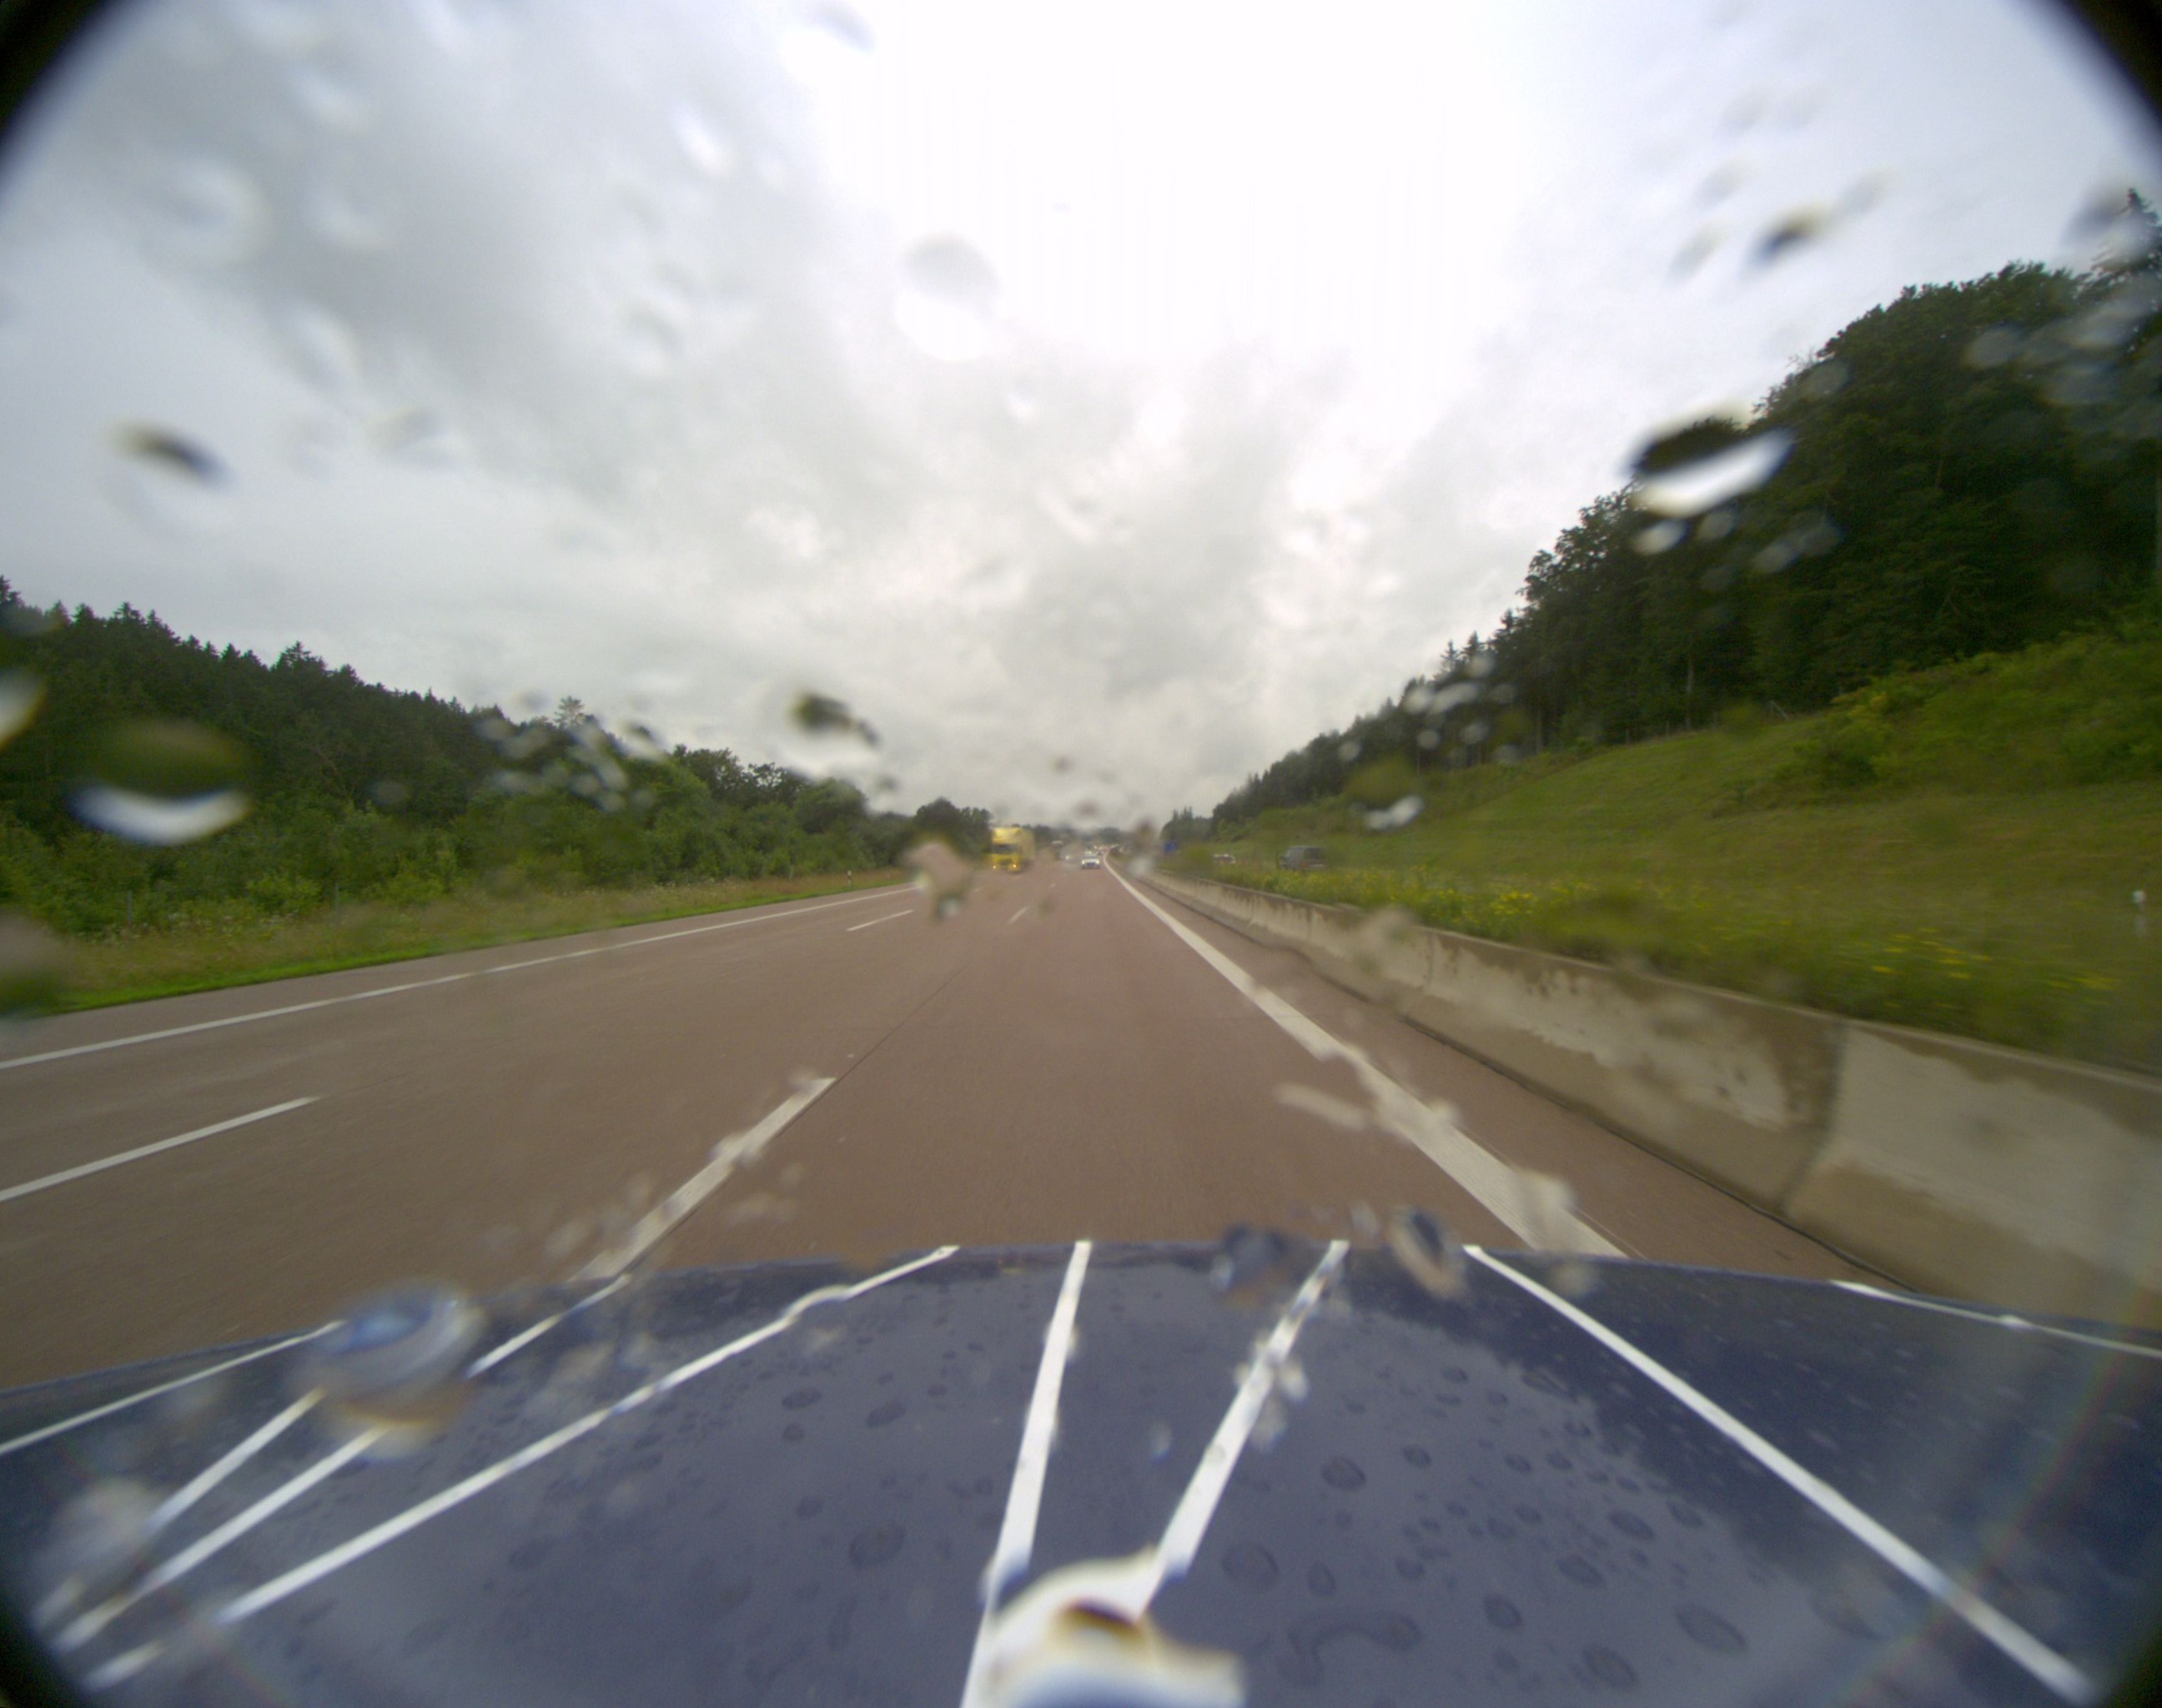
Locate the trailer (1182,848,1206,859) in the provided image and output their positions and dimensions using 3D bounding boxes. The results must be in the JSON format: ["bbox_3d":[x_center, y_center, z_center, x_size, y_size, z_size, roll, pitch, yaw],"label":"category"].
[{"bbox_3d":[14.730,-0.073,99.428,2.210,0.992,6.850,-7,1,1],"label":"trailer"}]

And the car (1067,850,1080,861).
[{"bbox_3d":[-1.229,0.203,126.469,1.998,1.623,4.931,-2,1,2],"label":"car"}]

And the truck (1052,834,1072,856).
[{"bbox_3d":[-4.005,-2.094,162.435,3.190,4.349,14.703,-2,1,2],"label":"truck"}]

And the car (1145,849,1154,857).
[{"bbox_3d":[15.934,-0.185,176.887,1.998,1.756,5.095,-1,0,2],"label":"car"}]

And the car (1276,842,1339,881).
[{"bbox_3d":[12.570,0.366,42.500,2.043,2.046,5.069,0,1,1],"label":"car"}]

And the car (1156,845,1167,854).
[{"bbox_3d":[15.307,-0.869,144.212,1.730,1.520,4.116,-2,1,1],"label":"car"}]

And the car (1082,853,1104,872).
[{"bbox_3d":[1.248,0.796,74.507,1.998,1.623,4.931,-2,1,2],"label":"car"}]

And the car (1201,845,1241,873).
[{"bbox_3d":[8.859,0.267,48.457,1.847,1.594,3.845,-2,1,1],"label":"car"}]

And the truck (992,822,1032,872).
[{"bbox_3d":[-6.114,-0.676,68.001,2.610,4.190,6.249,-2,1,2],"label":"truck"}]

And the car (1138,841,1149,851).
[{"bbox_3d":[12.153,-1.572,146.987,1.895,1.769,4.938,-2,1,3],"label":"car"}]

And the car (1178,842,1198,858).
[{"bbox_3d":[14.792,-0.622,105.514,1.998,2.002,5.673,-2,1,1],"label":"car"}]

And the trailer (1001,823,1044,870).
[{"bbox_3d":[-5.746,-0.850,76.996,2.571,4.204,14.078,-2,1,2],"label":"trailer"}]

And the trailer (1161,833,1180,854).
[{"bbox_3d":[19.941,-2.384,170.406,2.926,4.315,13.578,-3,1,2],"label":"trailer"}]
